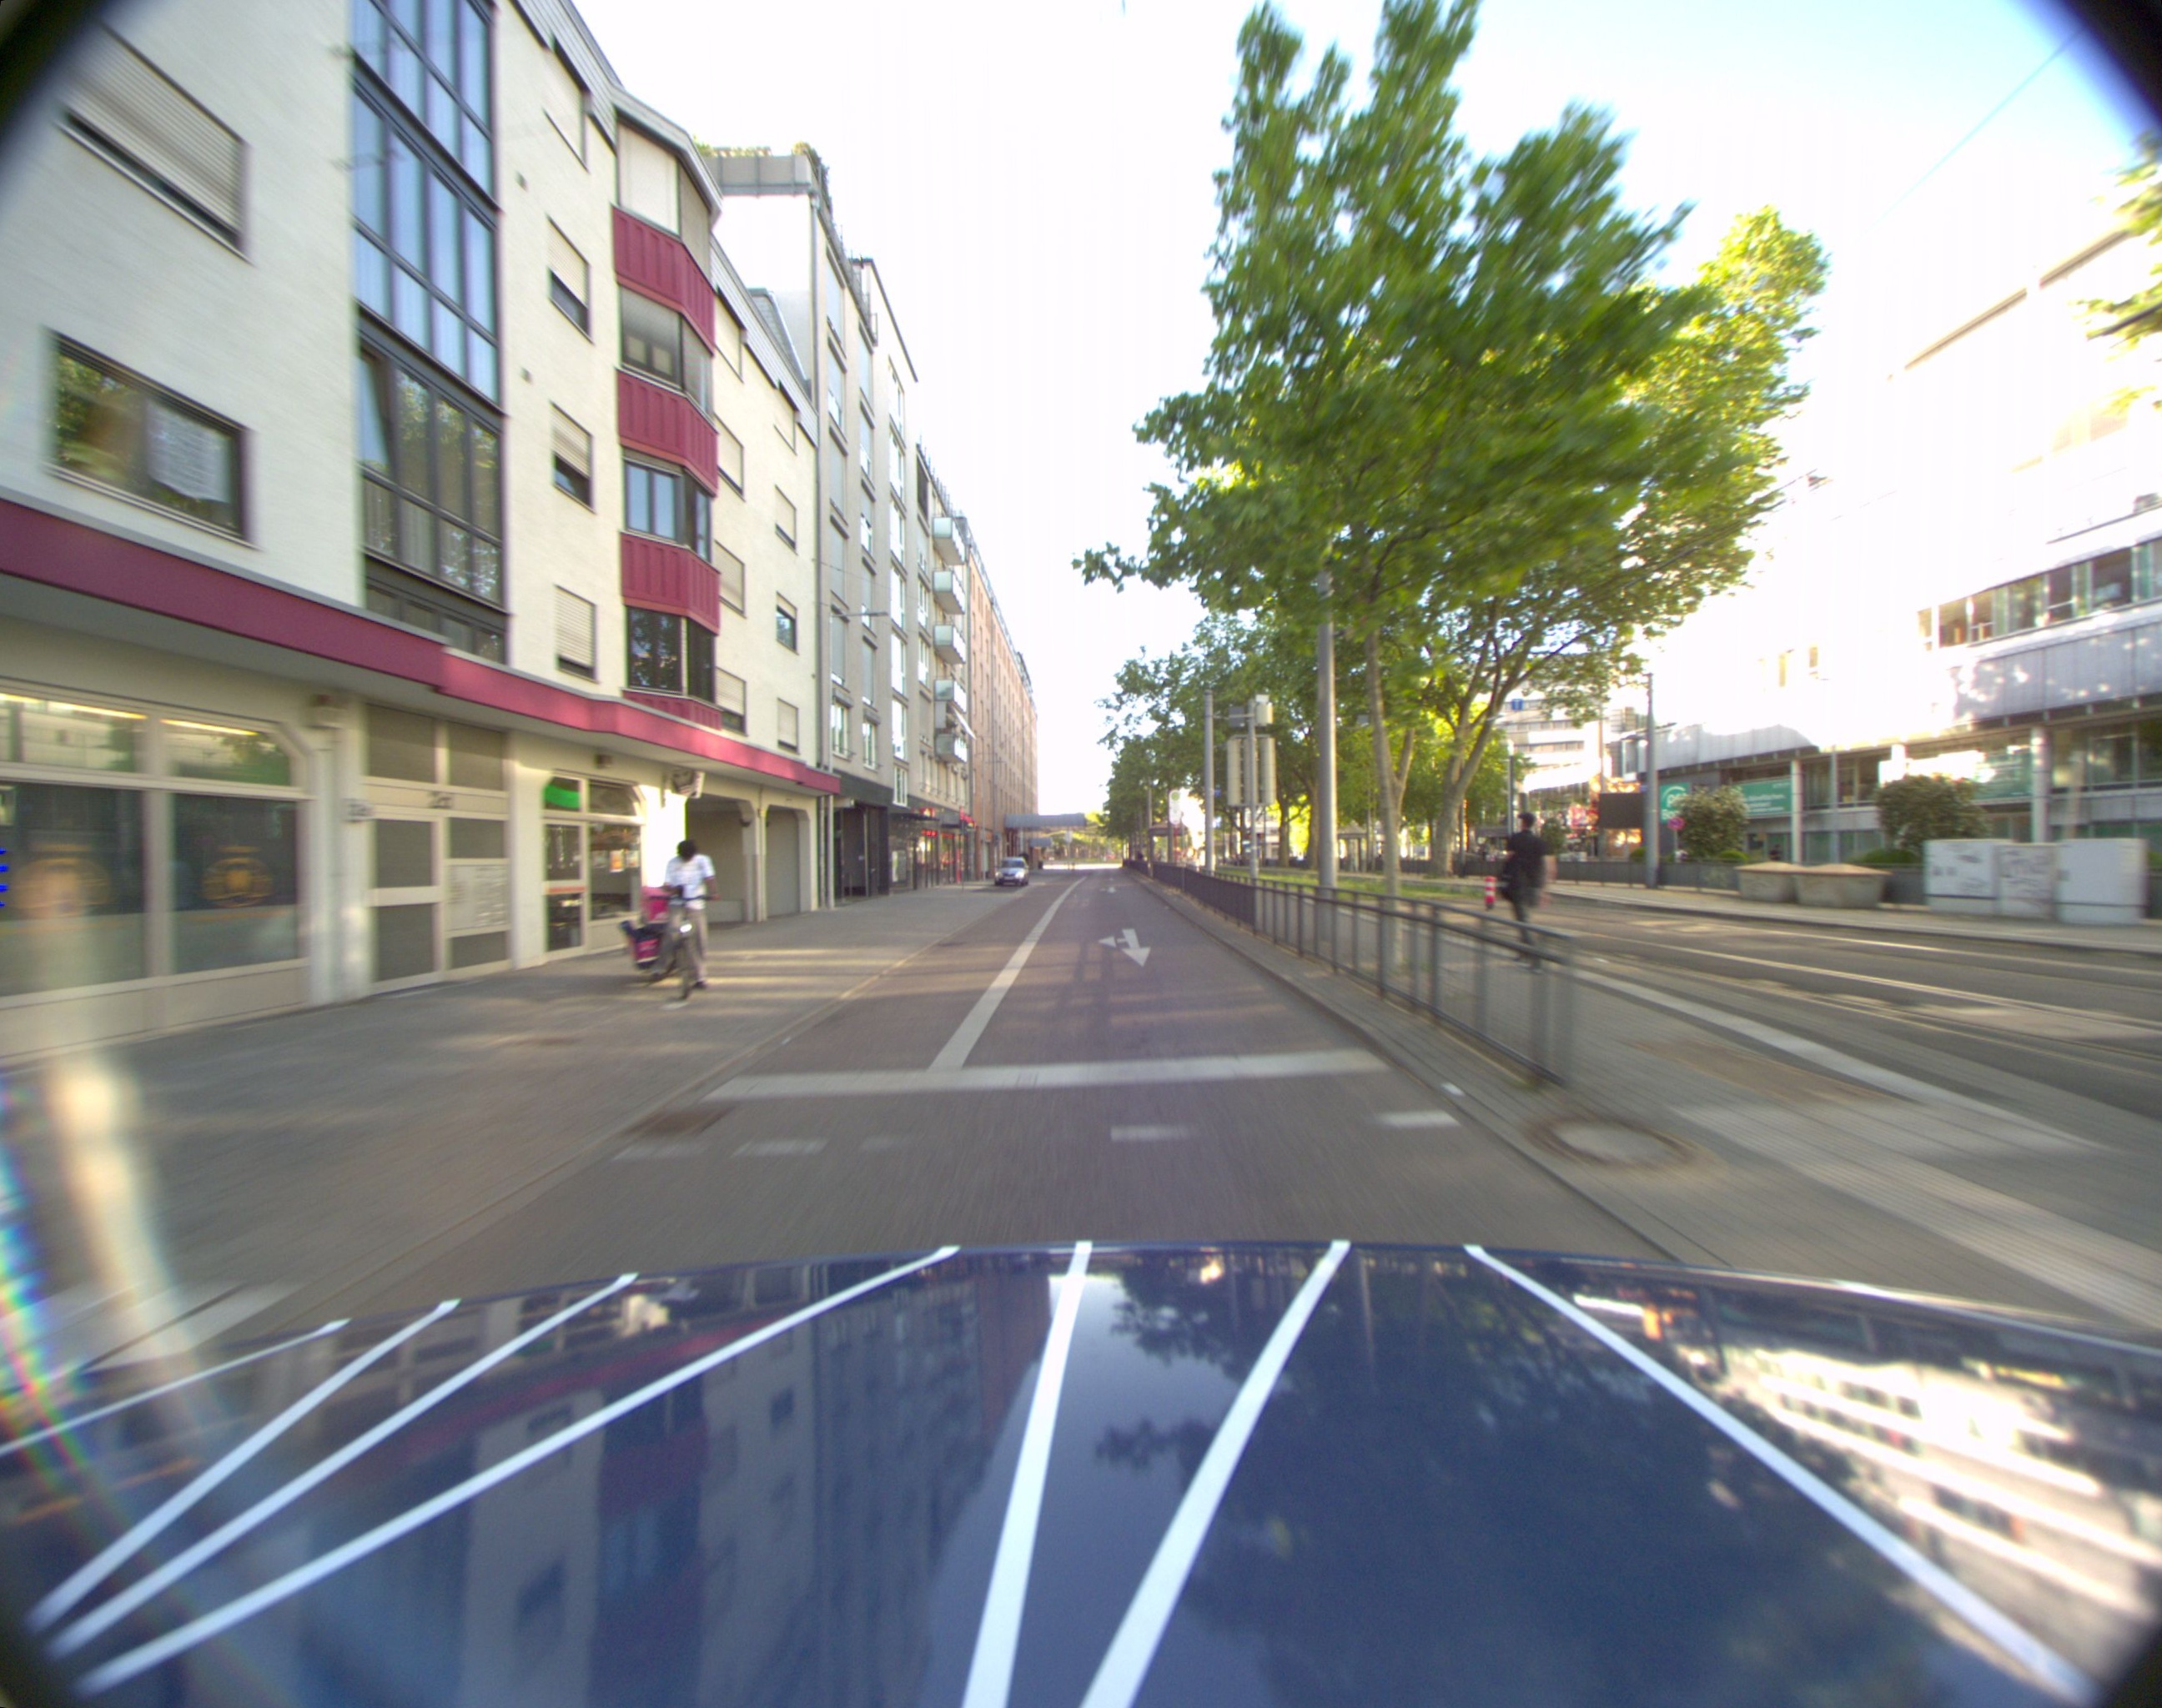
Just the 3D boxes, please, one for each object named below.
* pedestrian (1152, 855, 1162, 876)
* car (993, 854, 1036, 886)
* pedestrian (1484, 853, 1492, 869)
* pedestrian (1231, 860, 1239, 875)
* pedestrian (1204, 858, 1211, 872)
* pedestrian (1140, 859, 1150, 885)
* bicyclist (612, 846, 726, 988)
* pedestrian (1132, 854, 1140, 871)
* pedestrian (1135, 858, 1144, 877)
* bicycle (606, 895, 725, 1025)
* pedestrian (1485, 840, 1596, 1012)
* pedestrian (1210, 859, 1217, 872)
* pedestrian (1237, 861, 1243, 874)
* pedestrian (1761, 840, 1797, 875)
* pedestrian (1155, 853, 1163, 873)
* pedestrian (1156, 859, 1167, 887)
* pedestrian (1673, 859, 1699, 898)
[{"bbox_3d":[6.105,0.940,60.981,0.731,1.692,0.863,-2,0,4],"label":"pedestrian"},{"bbox_3d":[-3.681,0.867,42.622,1.837,1.613,4.285,2,0,2],"label":"car"},{"bbox_3d":[41.675,0.716,77.824,0.579,1.594,0.580,-1,0,7],"label":"pedestrian"},{"bbox_3d":[17.816,1.561,87.785,0.669,1.632,0.669,-1,0,-10],"label":"pedestrian"},{"bbox_3d":[16.849,1.450,101.044,0.656,1.744,0.676,-1,0,-6],"label":"pedestrian"},{"bbox_3d":[4.579,1.287,54.114,0.647,1.875,0.661,-1,0,2],"label":"pedestrian"},{"bbox_3d":[-4.796,0.684,8.943,1.061,1.531,1.077,-1,0,-23],"label":"bicyclist"},{"bbox_3d":[5.737,0.865,79.459,0.742,1.680,0.645,-3,0,0],"label":"pedestrian"},{"bbox_3d":[5.642,1.318,73.406,0.708,1.791,0.826,-1,0,-5],"label":"pedestrian"},{"bbox_3d":[-4.791,1.130,8.962,0.964,1.176,2.593,-1,0,-23],"label":"bicycle"},{"bbox_3d":[4.842,0.738,8.055,0.735,1.736,0.712,-1,0,6],"label":"pedestrian"},{"bbox_3d":[17.597,1.553,101.041,0.686,1.686,0.699,-1,0,-6],"label":"pedestrian"},{"bbox_3d":[17.873,1.501,85.462,0.554,1.488,0.551,-1,0,-10],"label":"pedestrian"},{"bbox_3d":[31.965,0.167,34.816,0.908,1.583,0.767,-1,0,1],"label":"pedestrian"},{"bbox_3d":[7.070,0.811,68.765,0.648,1.828,0.638,-1,0,1],"label":"pedestrian"},{"bbox_3d":[5.303,1.256,50.273,0.647,1.860,0.753,-2,0,2],"label":"pedestrian"},{"bbox_3d":[31.704,1.275,39.816,0.607,1.964,0.834,-3,0,-1],"label":"pedestrian"}]
